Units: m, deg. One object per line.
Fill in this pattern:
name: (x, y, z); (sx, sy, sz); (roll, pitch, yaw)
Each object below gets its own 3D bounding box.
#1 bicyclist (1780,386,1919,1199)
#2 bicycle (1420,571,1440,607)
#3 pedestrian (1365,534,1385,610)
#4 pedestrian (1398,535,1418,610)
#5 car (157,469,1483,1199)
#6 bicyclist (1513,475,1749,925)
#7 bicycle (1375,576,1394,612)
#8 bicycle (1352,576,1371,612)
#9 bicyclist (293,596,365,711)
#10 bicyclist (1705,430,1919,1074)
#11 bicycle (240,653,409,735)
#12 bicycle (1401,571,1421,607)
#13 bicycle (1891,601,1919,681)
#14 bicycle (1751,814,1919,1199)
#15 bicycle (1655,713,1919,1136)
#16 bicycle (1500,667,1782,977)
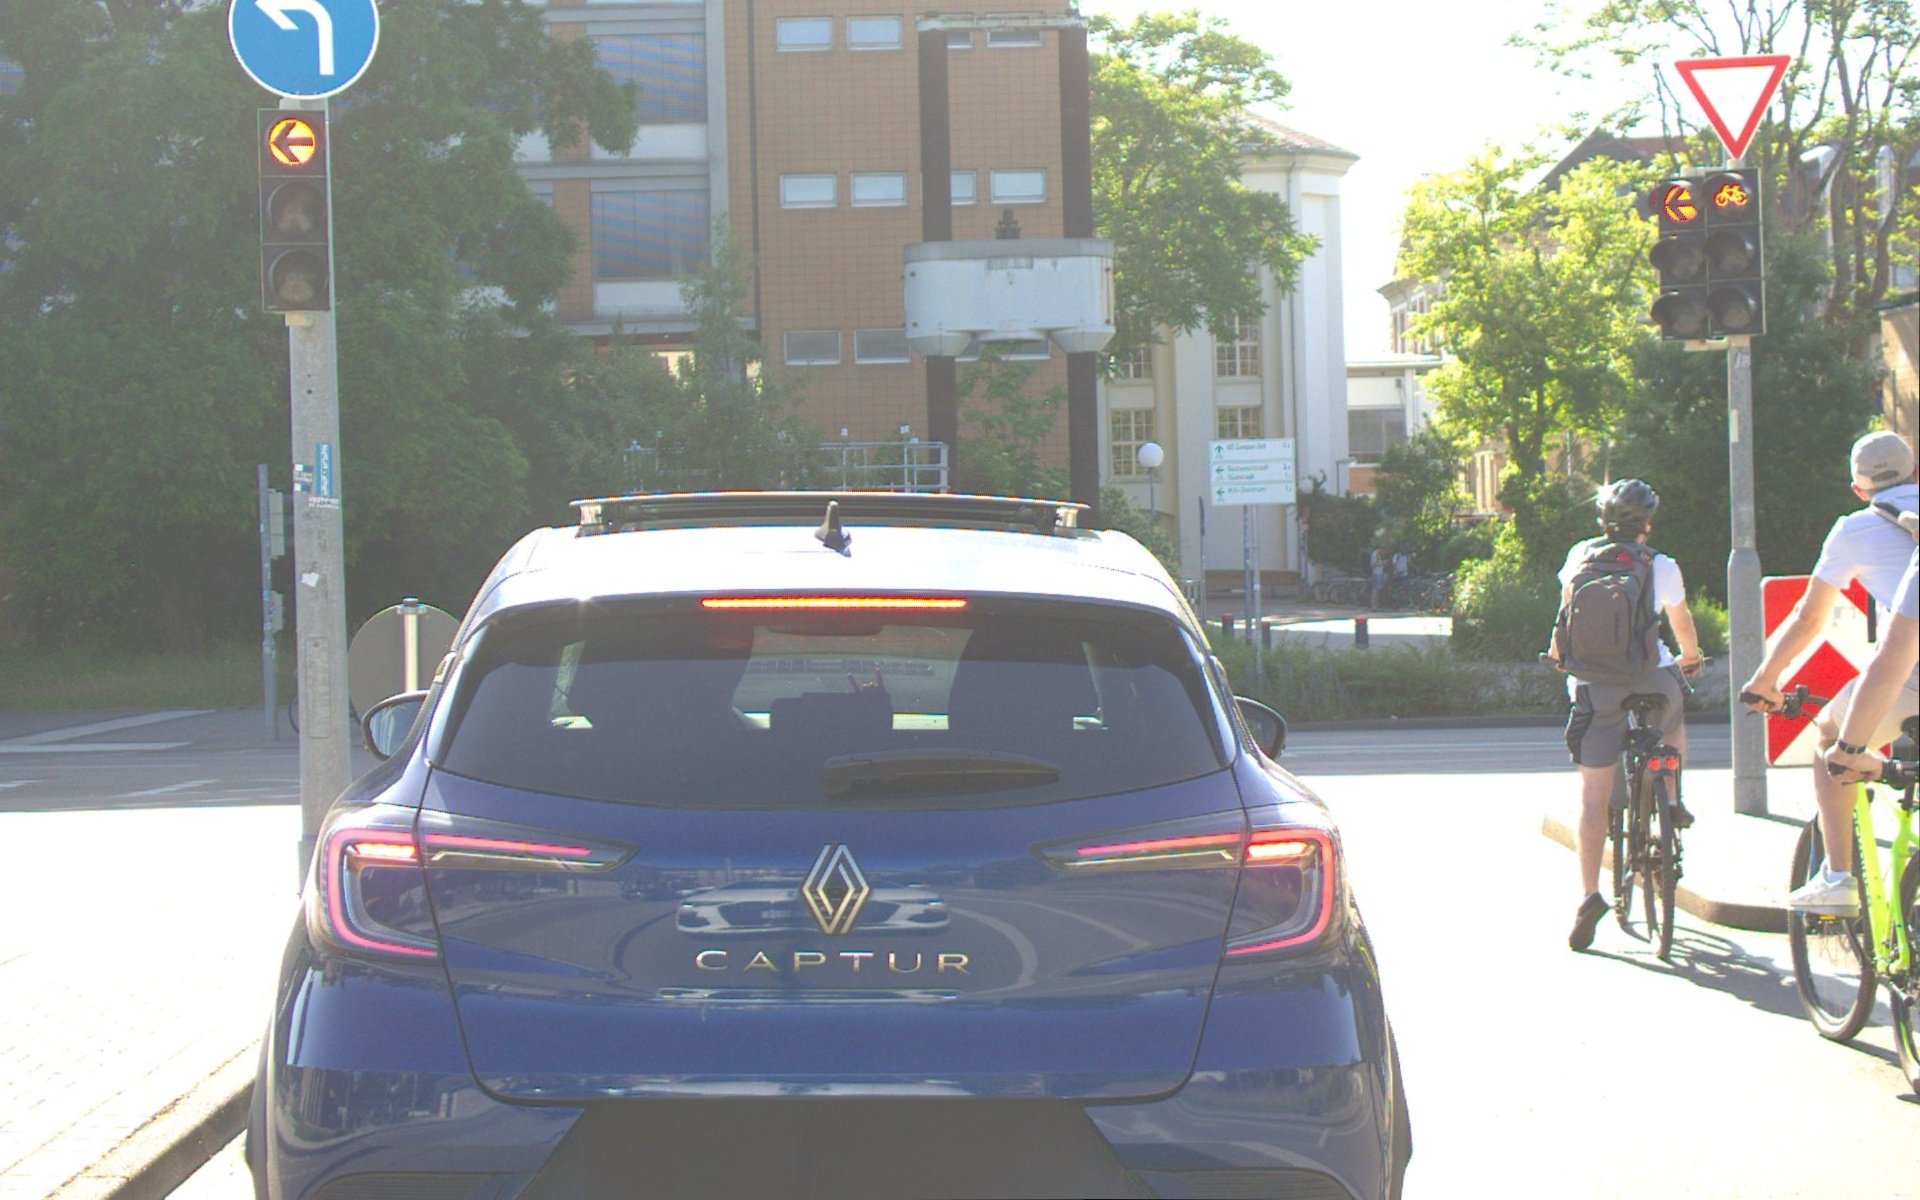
bicyclist: (2.233, 0.412, 7.246); (0.751, 1.663, 1.016); (1, 0, 1)
bicycle: (12.914, -0.297, 94.417); (0.405, 0.969, 1.683); (1, 1, 4)
pedestrian: (10.978, -0.751, 91.044); (0.475, 2.007, 0.523); (-1, 1, 6)
pedestrian: (12.035, -0.749, 92.396); (0.475, 2.007, 0.468); (-1, 1, 6)
car: (-0.267, 0.616, 6.697); (1.803, 1.626, 4.000); (0, 1, -2)
bicyclist: (2.509, 0.357, 12.946); (0.726, 1.623, 0.969); (1, 0, 4)
bicycle: (11.610, -0.168, 94.038); (0.405, 0.969, 1.683); (1, 1, 4)
bicycle: (10.988, -0.177, 94.081); (0.405, 0.969, 1.683); (1, 1, 4)
bicyclist: (-8.034, 0.677, 43.787); (0.737, 1.436, 0.598); (-2, 1, -27)
bicyclist: (2.623, 0.409, 9.811); (0.645, 1.733, 1.067); (1, 0, -6)
bicycle: (-8.082, 1.190, 43.769); (2.005, 0.961, 0.598); (-2, 1, -27)
bicycle: (12.378, -0.304, 94.404); (0.405, 0.969, 1.683); (1, 1, 4)
bicycle: (12.462, 0.472, 41.847); (2.082, 0.927, 0.696); (-2, 2, 7)
bicycle: (2.227, 0.964, 7.100); (0.740, 0.893, 1.978); (1, 1, 1)
bicycle: (2.613, 0.867, 9.822); (0.659, 0.999, 1.970); (1, 1, -6)
bicycle: (2.511, 0.783, 12.902); (0.739, 0.992, 2.173); (1, 1, 3)
